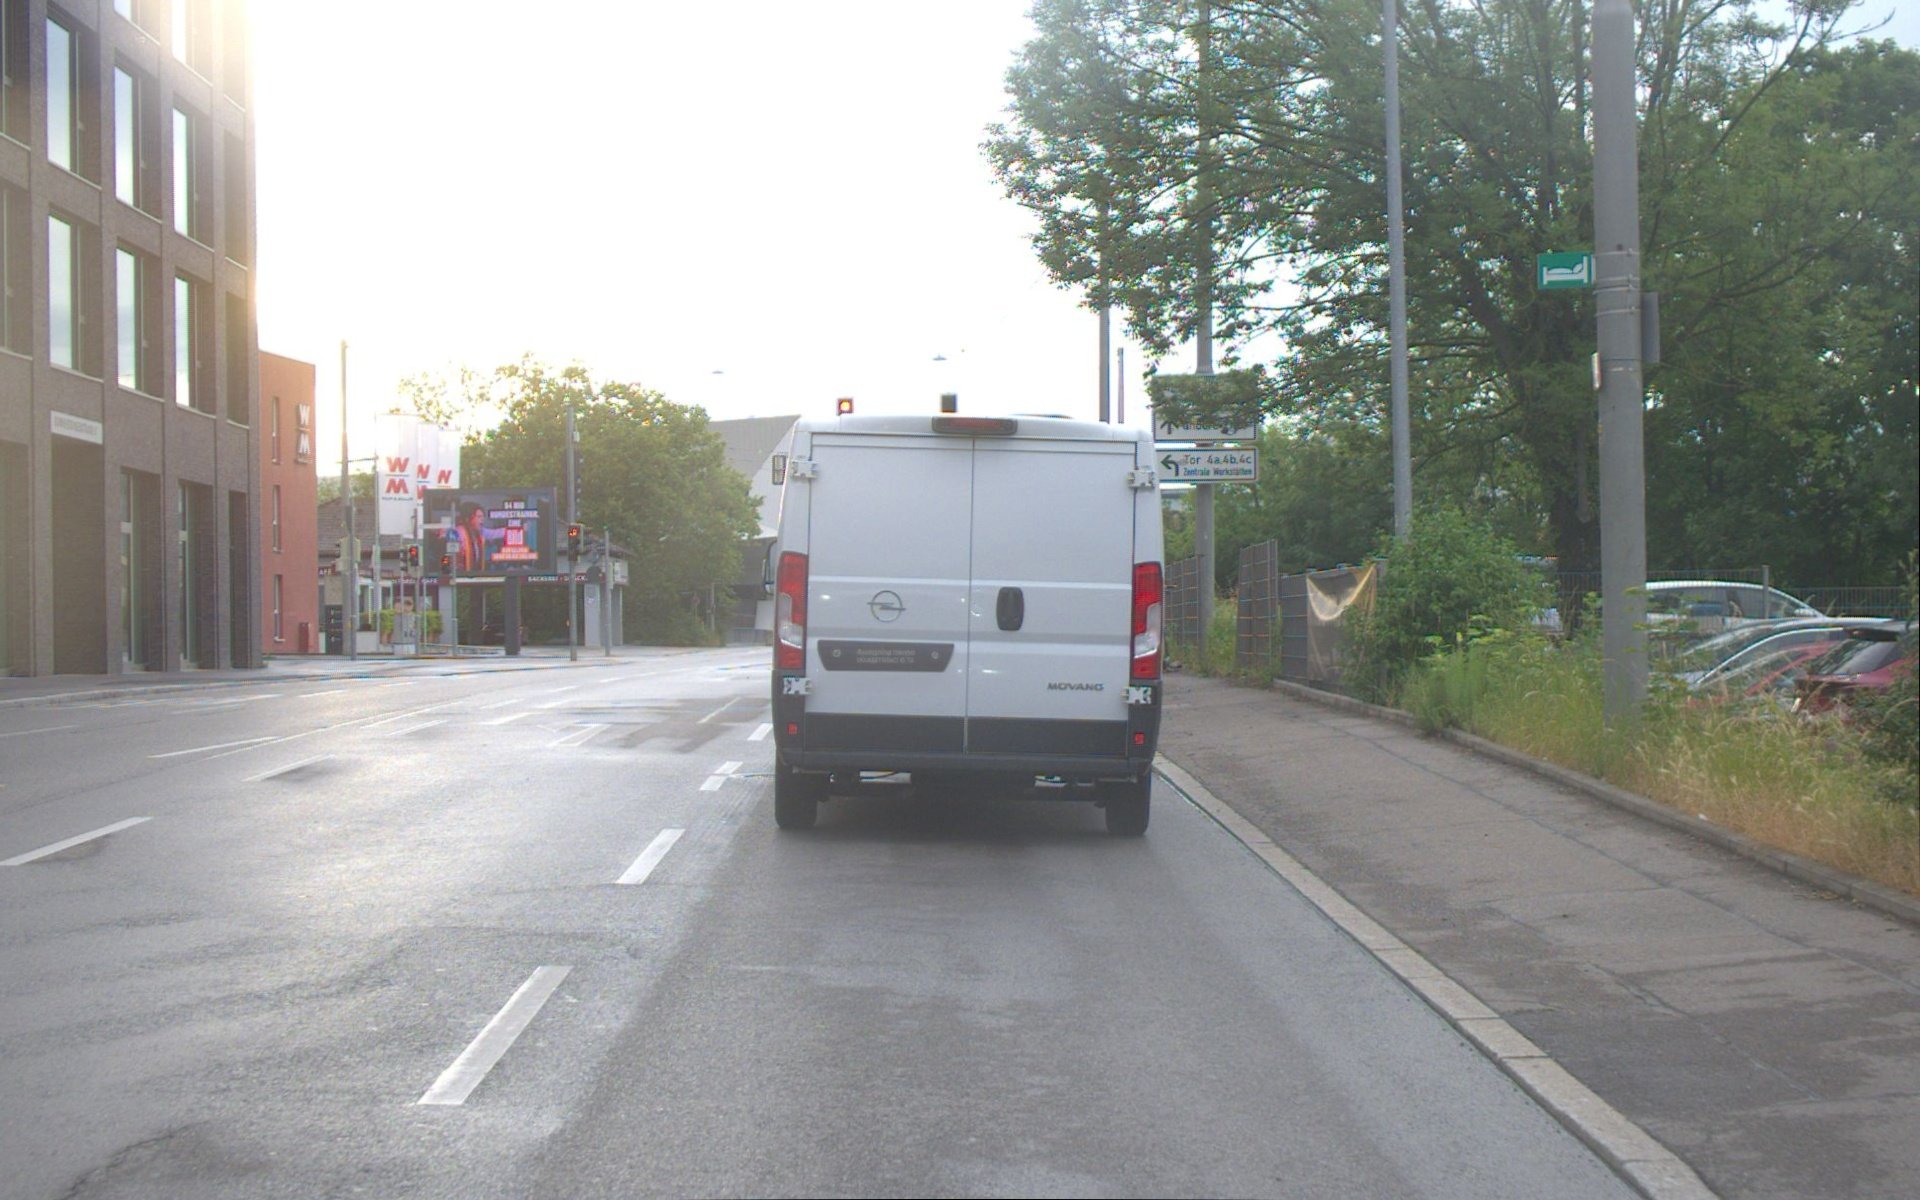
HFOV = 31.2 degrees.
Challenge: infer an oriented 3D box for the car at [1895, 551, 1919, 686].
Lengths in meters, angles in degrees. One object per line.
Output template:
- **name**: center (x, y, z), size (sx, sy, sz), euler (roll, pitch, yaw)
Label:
- **car**: center (12.832, 0.218, 38.824), size (3.986, 1.516, 1.804), euler (0, 1, -5)

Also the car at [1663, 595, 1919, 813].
- **car**: center (7.363, 0.744, 25.303), size (3.987, 1.516, 1.804), euler (0, 1, 0)

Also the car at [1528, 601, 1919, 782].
- **car**: center (7.207, 0.782, 30.376), size (3.986, 1.516, 1.804), euler (0, 1, -5)

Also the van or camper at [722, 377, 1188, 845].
- **van or camper**: center (-0.016, -0.003, 19.980), size (2.340, 2.349, 5.200), euler (0, 1, 0)

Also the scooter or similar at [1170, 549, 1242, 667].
- **scooter or similar**: center (3.313, 0.093, 46.430), size (0.434, 1.559, 1.273), euler (0, 1, -22)

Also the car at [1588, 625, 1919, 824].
- **car**: center (7.280, 0.989, 27.966), size (3.987, 1.516, 1.804), euler (0, 1, 0)

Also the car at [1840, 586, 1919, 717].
- **car**: center (12.869, 0.604, 41.441), size (3.986, 1.516, 1.804), euler (0, 1, -5)

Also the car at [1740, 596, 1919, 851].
- **car**: center (7.442, 0.795, 22.794), size (4.129, 1.583, 1.760), euler (0, 1, 0)

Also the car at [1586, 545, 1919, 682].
- **car**: center (10.615, 0.158, 46.006), size (3.986, 1.516, 1.804), euler (-4, 1, -5)

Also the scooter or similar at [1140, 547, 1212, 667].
- **scooter or similar**: center (2.897, 0.082, 46.252), size (0.434, 1.582, 1.273), euler (0, 1, -23)

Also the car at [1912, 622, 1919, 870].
- **car**: center (7.845, 0.921, 20.200), size (3.987, 1.503, 1.760), euler (0, 1, 0)
